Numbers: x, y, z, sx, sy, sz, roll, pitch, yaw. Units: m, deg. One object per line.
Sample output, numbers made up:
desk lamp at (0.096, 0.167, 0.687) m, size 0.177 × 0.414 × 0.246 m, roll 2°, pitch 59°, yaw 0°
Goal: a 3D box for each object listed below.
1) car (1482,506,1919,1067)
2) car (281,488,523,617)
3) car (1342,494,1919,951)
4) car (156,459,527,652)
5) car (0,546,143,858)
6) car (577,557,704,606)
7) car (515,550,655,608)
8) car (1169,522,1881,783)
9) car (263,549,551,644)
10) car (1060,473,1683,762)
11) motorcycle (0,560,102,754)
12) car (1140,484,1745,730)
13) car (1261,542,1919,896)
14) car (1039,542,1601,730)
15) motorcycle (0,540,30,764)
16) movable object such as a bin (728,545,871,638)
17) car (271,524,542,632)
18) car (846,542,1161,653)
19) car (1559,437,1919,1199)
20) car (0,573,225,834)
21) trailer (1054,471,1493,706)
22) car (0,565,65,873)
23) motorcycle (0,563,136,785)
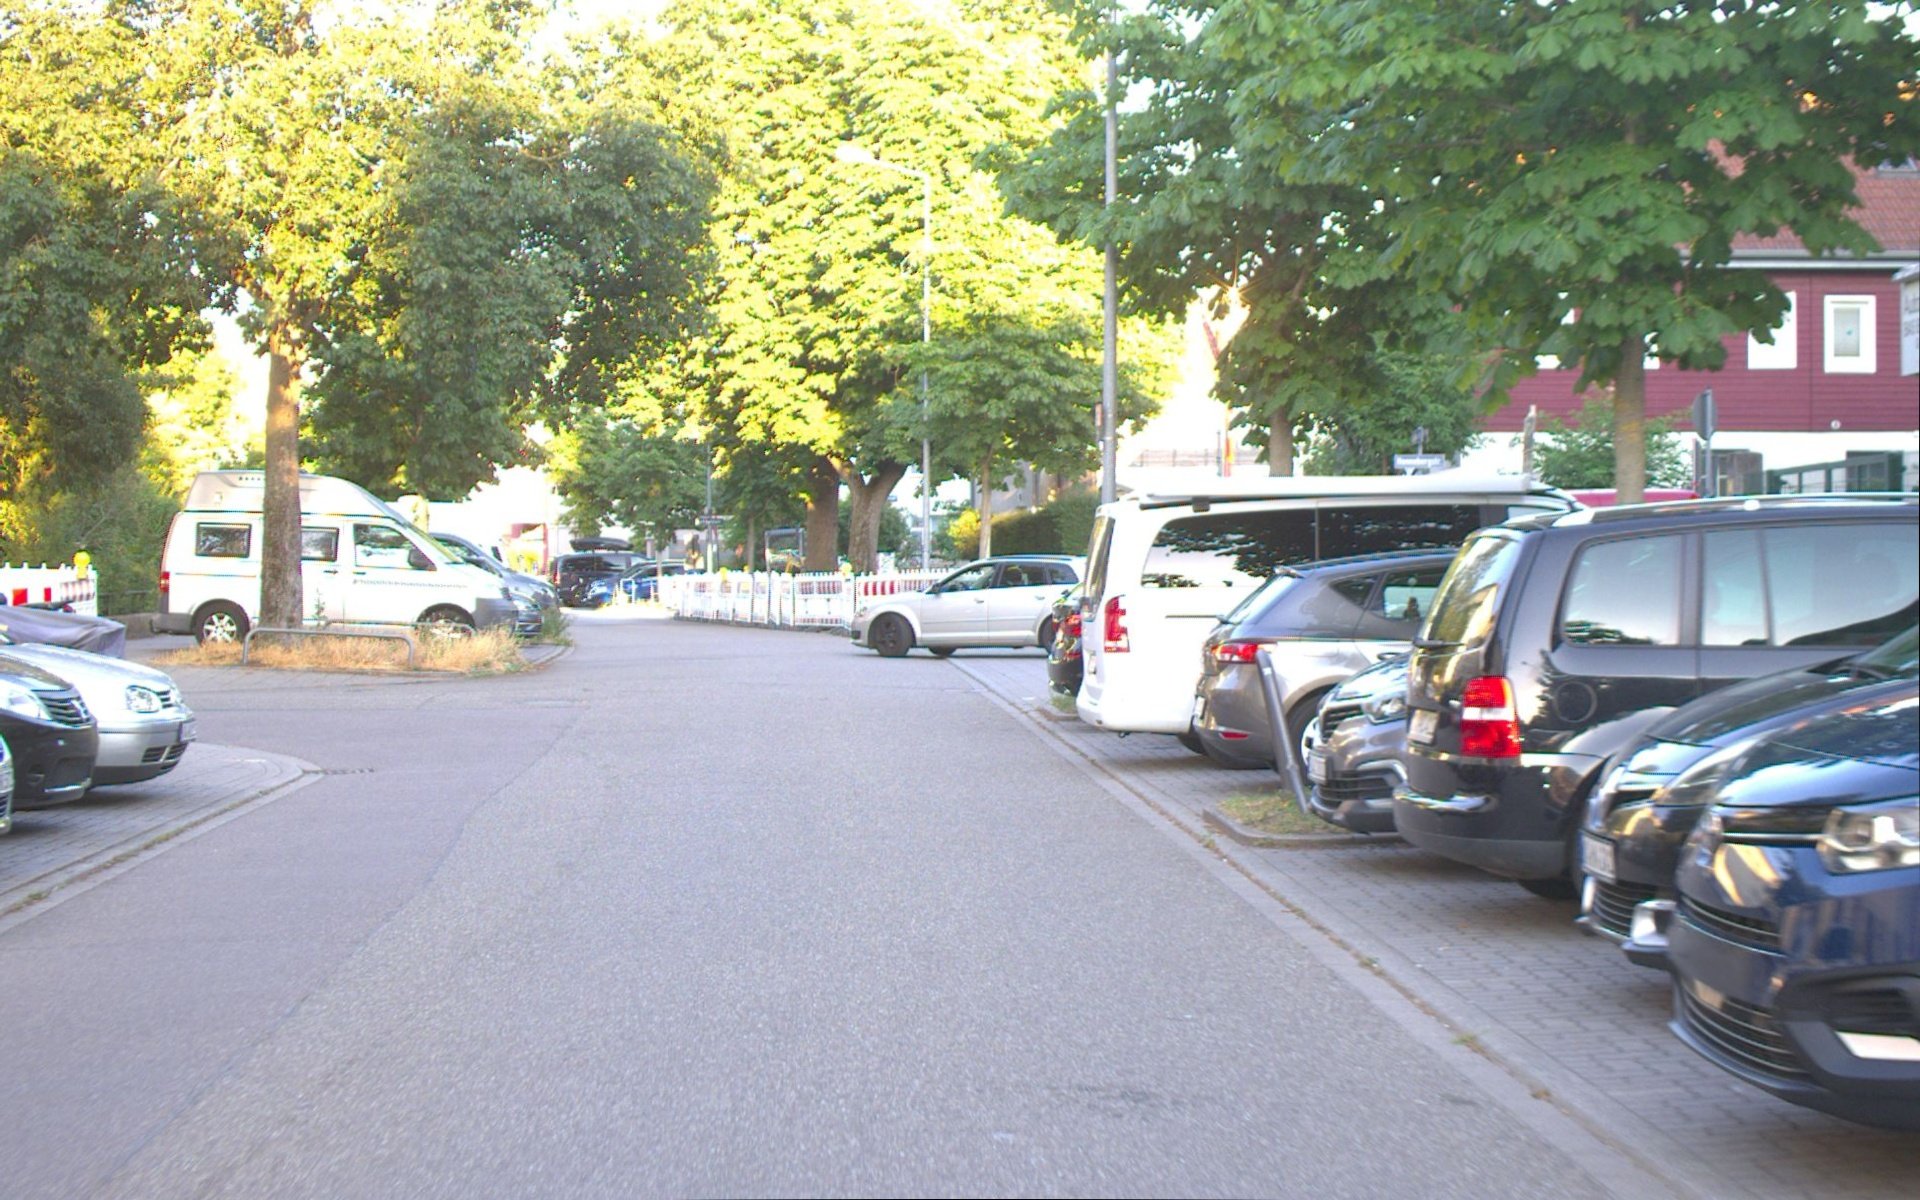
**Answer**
car at (4.120, 0.437, 11.159) m, size 4.414 × 1.569 × 1.982 m, roll -3°, pitch 1°, yaw -3°
car at (-10.702, -0.897, 66.064) m, size 4.501 × 2.423 × 2.000 m, roll 0°, pitch 0°, yaw -9°
car at (3.694, 0.397, 13.781) m, size 3.986 × 1.613 × 1.895 m, roll -3°, pitch 0°, yaw -3°
car at (-8.387, -0.598, 46.950) m, size 4.731 × 2.561 × 2.000 m, roll 0°, pitch 0°, yaw -1°
car at (-6.552, 0.504, 18.316) m, size 3.987 × 1.578 × 1.729 m, roll 0°, pitch 0°, yaw 0°
car at (-10.917, -0.638, 117.488) m, size 3.986 × 1.645 × 1.765 m, roll 0°, pitch 0°, yaw -22°
car at (-13.254, -0.722, 121.477) m, size 4.555 × 2.016 × 2.101 m, roll 0°, pitch 0°, yaw -19°
car at (3.346, 0.304, 20.878) m, size 3.986 × 1.504 × 1.776 m, roll 0°, pitch 0°, yaw -2°
car at (-8.522, -0.050, 53.232) m, size 4.243 × 1.389 × 1.684 m, roll 1°, pitch 0°, yaw -3°
car at (2.756, 0.113, 23.715) m, size 3.986 × 1.897 × 2.000 m, roll 0°, pitch 0°, yaw -2°
motorcycle at (-7.647, 0.412, 25.769) m, size 2.231 × 1.431 × 0.773 m, roll 0°, pitch 0°, yaw 1°
car at (3.605, 0.051, 26.240) m, size 4.300 × 1.793 × 1.904 m, roll 0°, pitch 0°, yaw -2°
car at (3.533, 0.526, 16.209) m, size 3.945 × 1.560 × 1.821 m, roll 0°, pitch 0°, yaw -5°
car at (2.919, 0.286, 28.534) m, size 4.426 × 1.494 × 1.773 m, roll 0°, pitch 0°, yaw -2°
motorcycle at (-7.846, 0.358, 24.477) m, size 2.231 × 1.577 × 0.773 m, roll 0°, pitch 0°, yaw 1°
movable object such as a bin at (-4.309, -0.226, 91.461) m, size 2.627 × 2.394 × 5.199 m, roll 0°, pitch 0°, yaw -16°
car at (-9.802, -0.384, 60.996) m, size 4.672 × 1.867 × 2.000 m, roll 0°, pitch 0°, yaw -9°
car at (0.611, -0.051, 47.708) m, size 3.991 × 1.483 × 1.811 m, roll 0°, pitch 1°, yaw 22°
car at (4.099, 0.378, 8.405) m, size 4.786 × 1.748 × 2.018 m, roll -3°, pitch 1°, yaw -2°
car at (-6.458, 0.583, 20.651) m, size 3.713 × 1.501 × 1.690 m, roll 0°, pitch 0°, yaw 0°
trailer at (2.964, -0.112, 33.135) m, size 3.986 × 2.180 × 2.000 m, roll 0°, pitch 0°, yaw -2°
car at (-6.531, 0.474, 15.775) m, size 4.326 × 1.400 × 1.851 m, roll 2°, pitch 0°, yaw 0°
motorcycle at (-6.449, 0.471, 22.488) m, size 1.985 × 1.431 × 0.722 m, roll 0°, pitch 0°, yaw -6°
